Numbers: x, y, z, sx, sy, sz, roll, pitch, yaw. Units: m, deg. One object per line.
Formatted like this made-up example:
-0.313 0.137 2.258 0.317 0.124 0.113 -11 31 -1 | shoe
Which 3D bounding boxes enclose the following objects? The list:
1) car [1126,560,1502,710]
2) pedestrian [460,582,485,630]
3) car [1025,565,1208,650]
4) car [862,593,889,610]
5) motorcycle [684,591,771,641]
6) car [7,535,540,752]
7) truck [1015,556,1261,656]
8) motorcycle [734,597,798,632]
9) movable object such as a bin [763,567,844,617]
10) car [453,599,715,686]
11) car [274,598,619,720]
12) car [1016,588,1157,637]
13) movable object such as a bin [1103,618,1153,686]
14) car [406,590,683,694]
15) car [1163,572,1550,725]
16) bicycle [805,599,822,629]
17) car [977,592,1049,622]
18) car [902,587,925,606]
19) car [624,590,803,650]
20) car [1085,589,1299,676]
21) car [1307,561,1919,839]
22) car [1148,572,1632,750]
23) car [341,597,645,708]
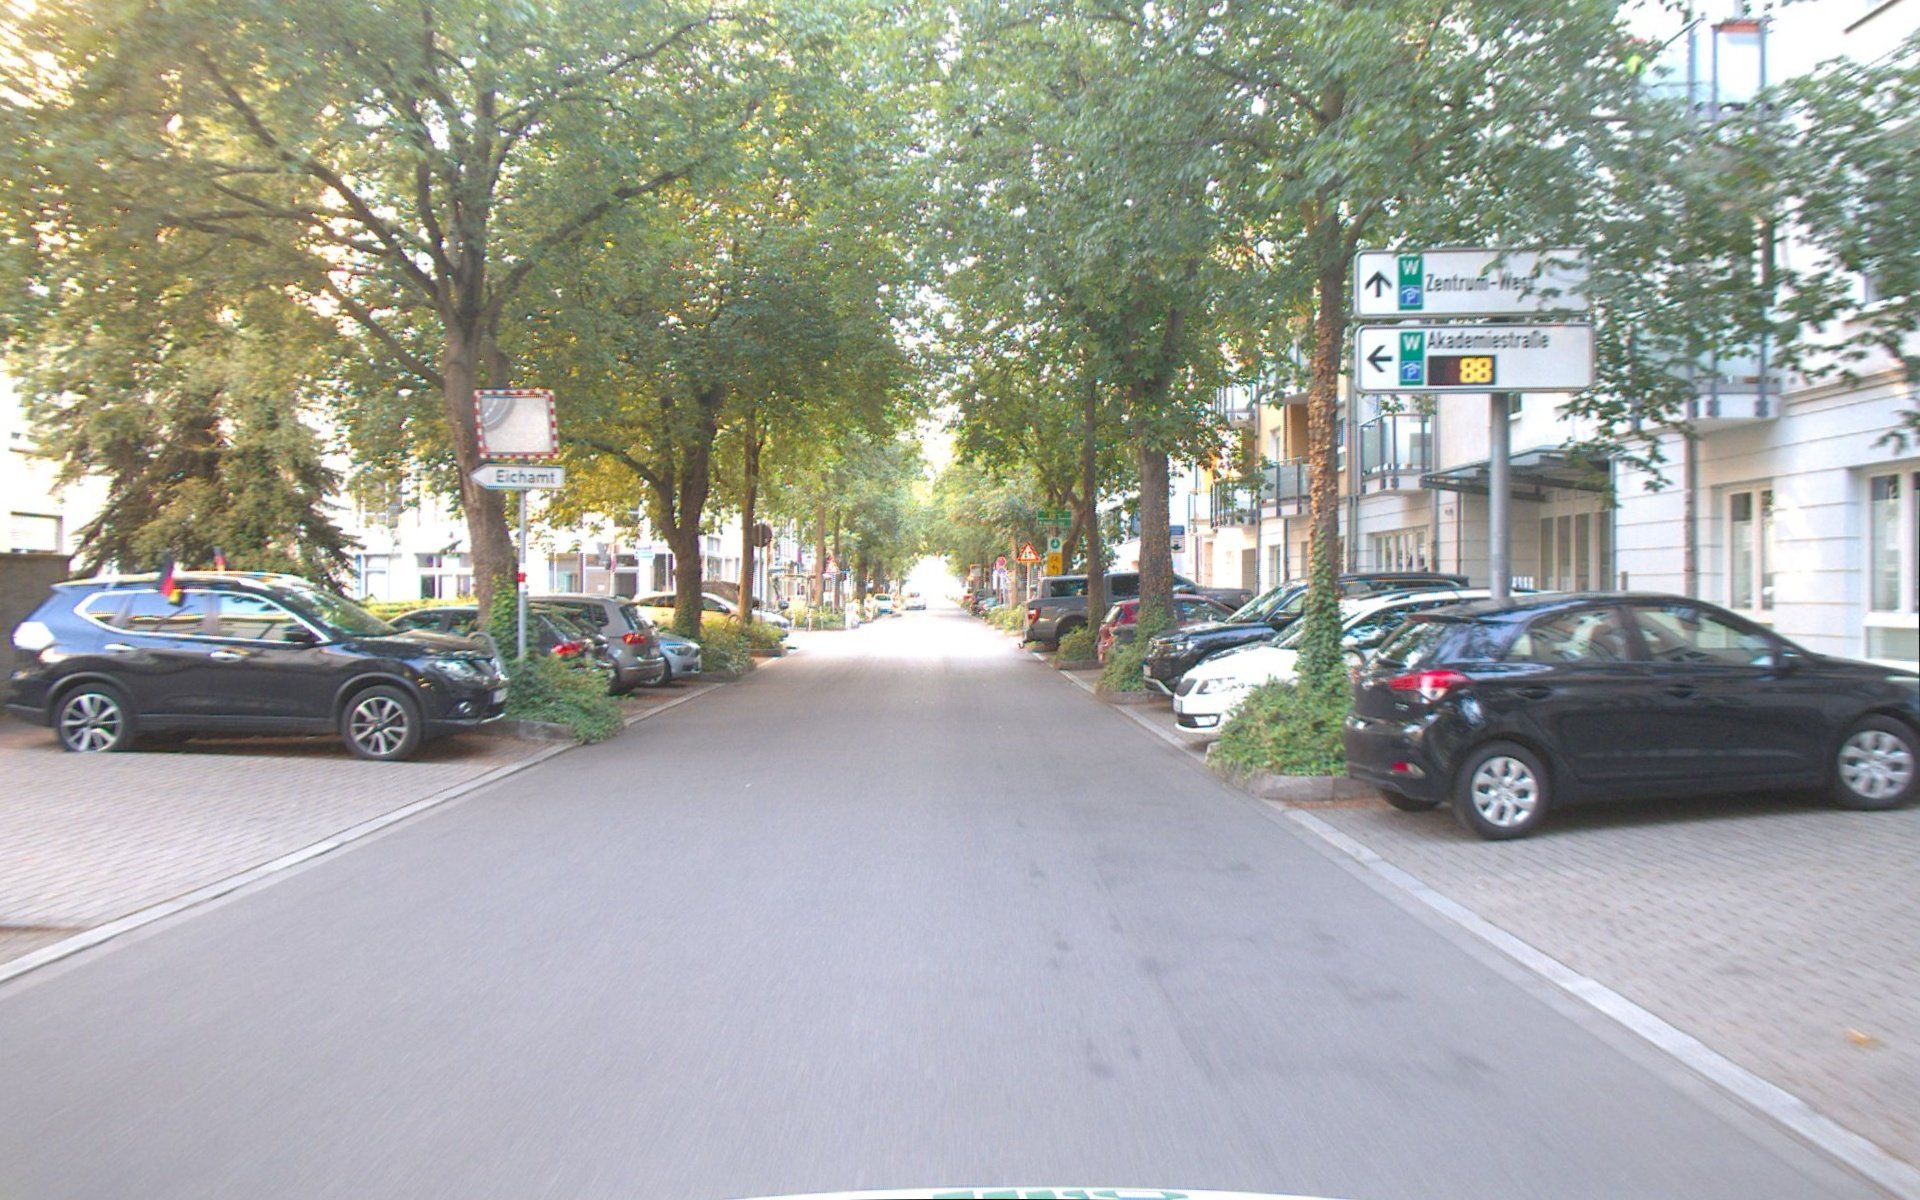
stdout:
4.717 0.441 22.459 4.552 1.645 2.008 -4 0 -5 | car
-19.569 0.226 66.390 0.876 1.883 0.869 0 0 -24 | pedestrian
4.031 0.177 43.230 4.507 2.102 2.197 -1 0 -2 | car
-6.556 0.099 128.028 1.955 1.310 3.996 0 0 -5 | car
-6.829 0.477 48.677 2.402 1.445 0.911 0 0 1 | motorcycle
-6.592 0.394 16.312 4.414 1.989 1.999 0 0 -3 | car
4.280 0.136 40.491 5.767 2.351 2.212 0 0 -1 | truck
-7.602 0.546 64.780 2.336 1.304 1.051 -1 1 -42 | motorcycle
-7.858 -0.407 82.921 3.969 2.424 2.781 0 1 -7 | movable object such as a bin
-6.557 0.719 29.211 4.200 1.455 1.879 0 0 -1 | car
-6.578 0.726 21.535 3.907 1.489 1.921 0 0 -3 | car
4.160 0.394 54.908 4.528 1.598 2.010 0 0 -2 | car
2.874 0.879 28.289 0.745 1.103 0.785 -2 0 0 | movable object such as a bin
-6.605 0.649 26.582 3.903 1.593 1.930 0 0 4 | car
4.648 0.546 19.865 4.137 1.463 1.930 -4 0 1 | car
-6.075 0.567 68.426 0.670 1.173 1.978 0 1 -6 | bicycle
2.931 0.364 91.878 3.905 1.612 2.000 0 0 1 | car
-4.160 -0.286 146.848 1.969 1.641 4.117 1 -1 -2 | car
-6.672 0.522 45.087 4.523 1.579 2.076 0 0 1 | car
4.276 0.593 30.872 3.700 1.571 1.877 0 0 -2 | car
4.641 0.591 11.261 4.005 1.476 1.932 -4 0 -6 | car
4.364 0.594 17.244 4.507 1.493 1.795 -3 0 -2 | car
-6.660 0.725 23.915 3.908 1.517 1.824 0 0 -4 | car
